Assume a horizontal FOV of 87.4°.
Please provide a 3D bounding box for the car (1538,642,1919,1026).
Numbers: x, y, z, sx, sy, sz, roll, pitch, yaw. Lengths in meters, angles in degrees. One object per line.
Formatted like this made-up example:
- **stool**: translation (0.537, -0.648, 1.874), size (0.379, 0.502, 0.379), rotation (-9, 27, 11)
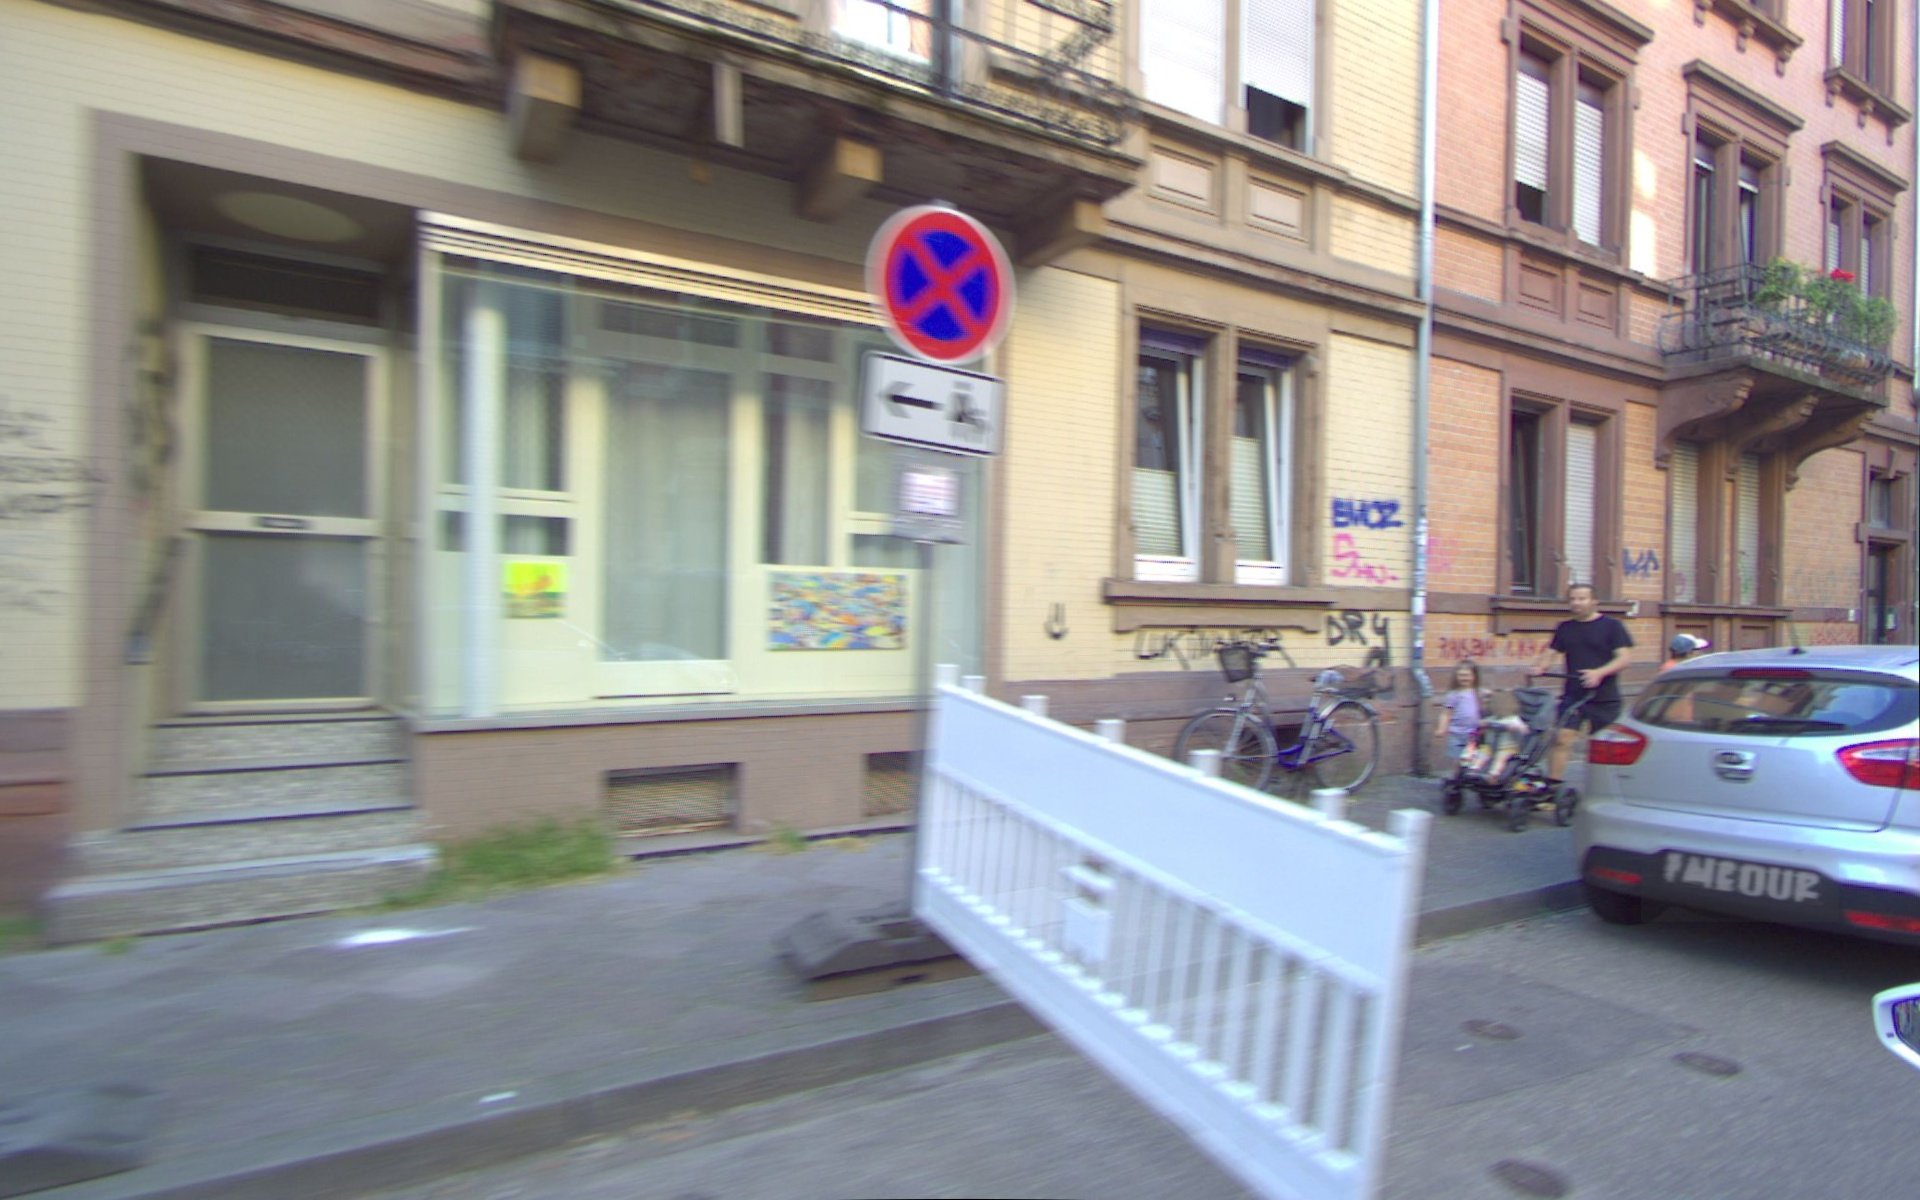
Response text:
- **car**: translation (5.030, 0.951, 5.365), size (3.954, 1.437, 1.666), rotation (1, -2, -31)

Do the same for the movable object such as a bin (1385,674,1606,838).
- **movable object such as a bin**: translation (3.708, 1.023, 6.942), size (1.400, 0.944, 0.757), rotation (1, -1, -32)

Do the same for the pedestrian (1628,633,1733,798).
- **pedestrian**: translation (6.030, 0.943, 8.411), size (0.639, 1.301, 0.447), rotation (2, 1, -29)

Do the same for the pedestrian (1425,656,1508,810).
- **pedestrian**: translation (3.856, 0.995, 7.652), size (0.427, 1.101, 0.391), rotation (1, 0, -35)

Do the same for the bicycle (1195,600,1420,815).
- **bicycle**: translation (2.602, 0.759, 7.475), size (1.691, 1.444, 0.522), rotation (2, 3, -29)

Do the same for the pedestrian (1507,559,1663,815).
- **pedestrian**: translation (4.689, 0.615, 7.544), size (0.878, 1.788, 0.681), rotation (1, -1, -33)
